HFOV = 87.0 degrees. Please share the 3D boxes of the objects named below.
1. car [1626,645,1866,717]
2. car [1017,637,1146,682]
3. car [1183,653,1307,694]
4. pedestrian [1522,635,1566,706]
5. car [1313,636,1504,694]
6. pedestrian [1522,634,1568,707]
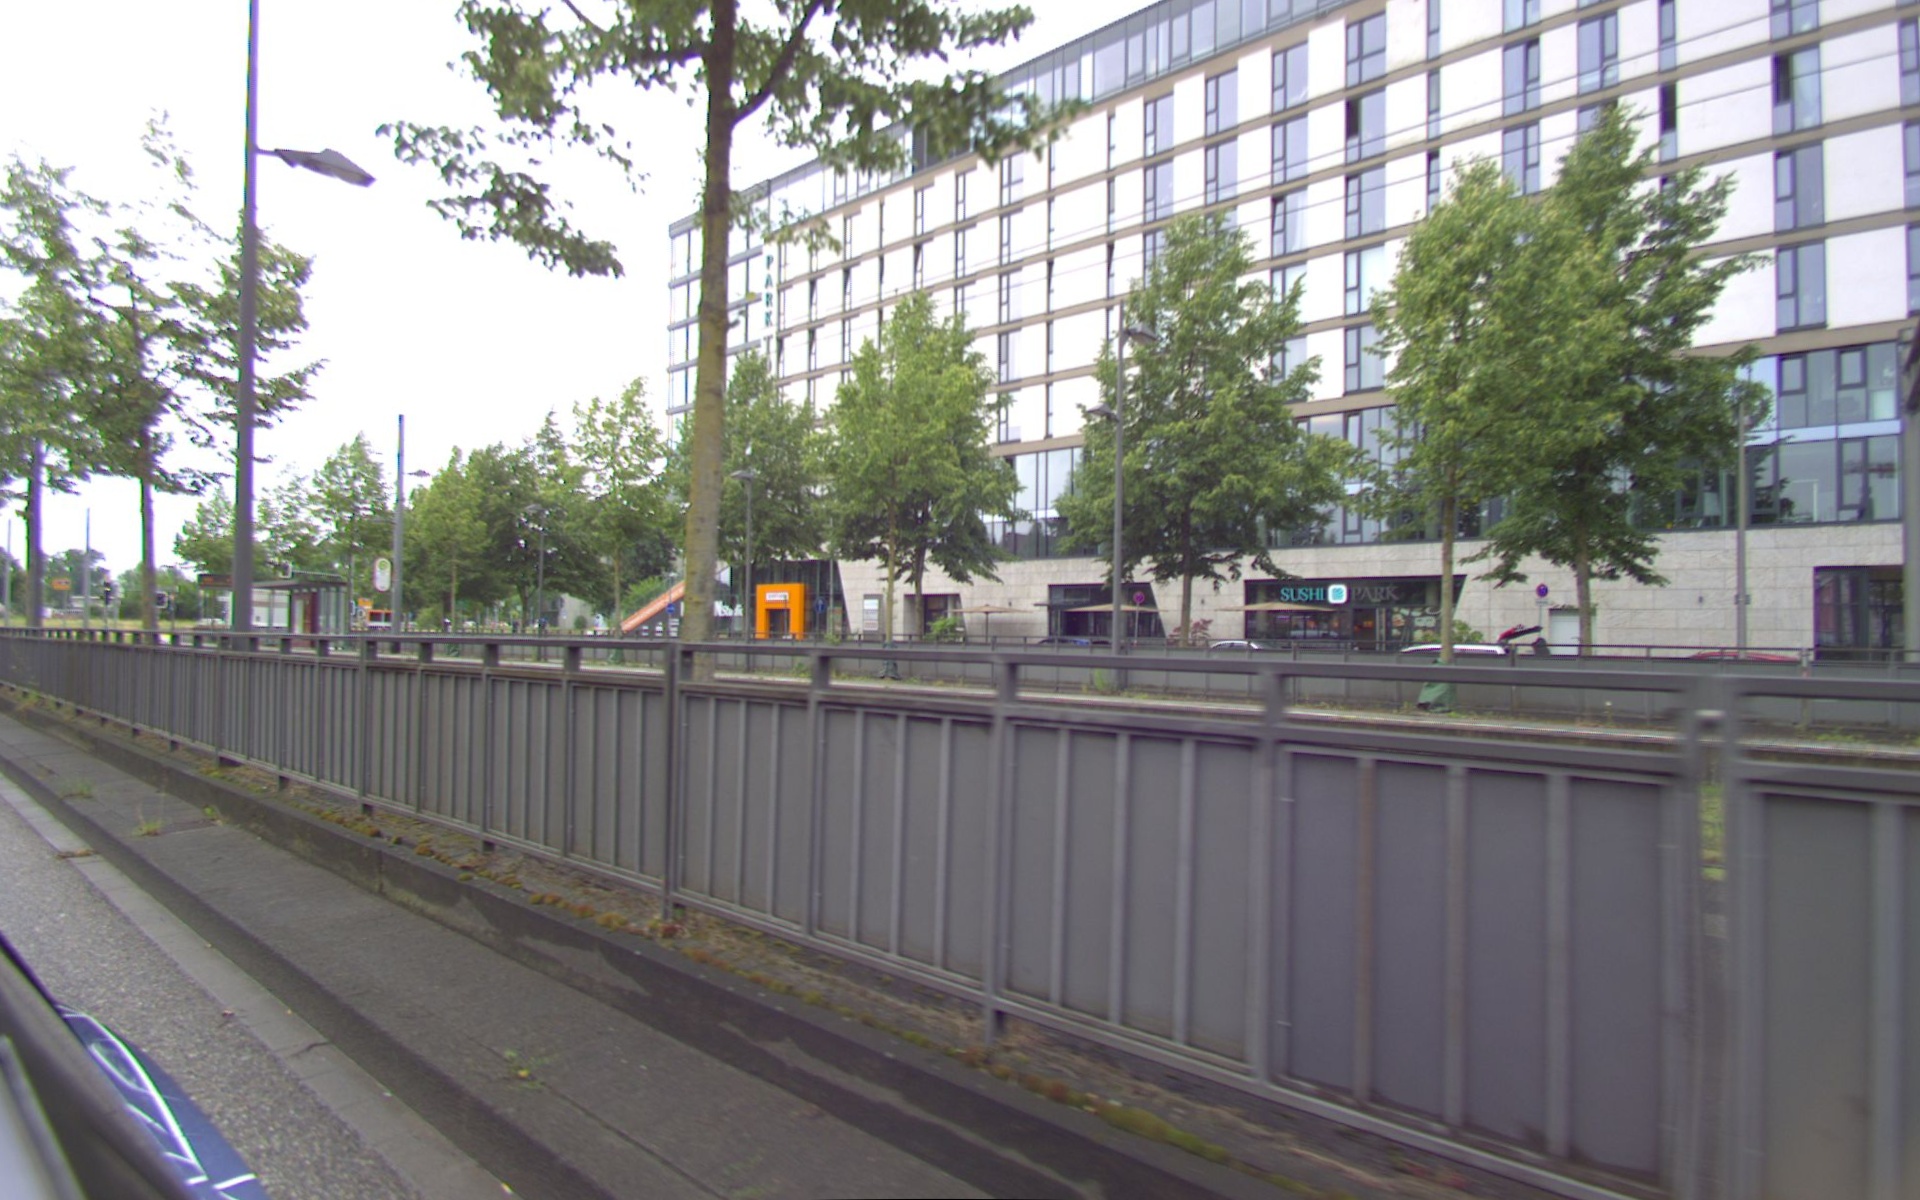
[{"bbox_3d":[16.599,1.638,21.466,3.860,1.298,1.972,-1,-2,43],"label":"car"},{"bbox_3d":[4.030,1.947,33.868,3.858,1.298,1.973,0,-1,41],"label":"car"},{"bbox_3d":[10.281,2.615,36.670,3.860,1.298,1.972,-1,-2,43],"label":"car"},{"bbox_3d":[14.479,1.732,25.088,0.793,1.704,0.703,-2,-2,44],"label":"pedestrian"},{"bbox_3d":[11.428,1.608,25.907,4.070,1.298,1.972,-1,-2,43],"label":"car"},{"bbox_3d":[14.101,1.674,24.394,0.793,1.704,0.703,-2,-2,44],"label":"pedestrian"}]
